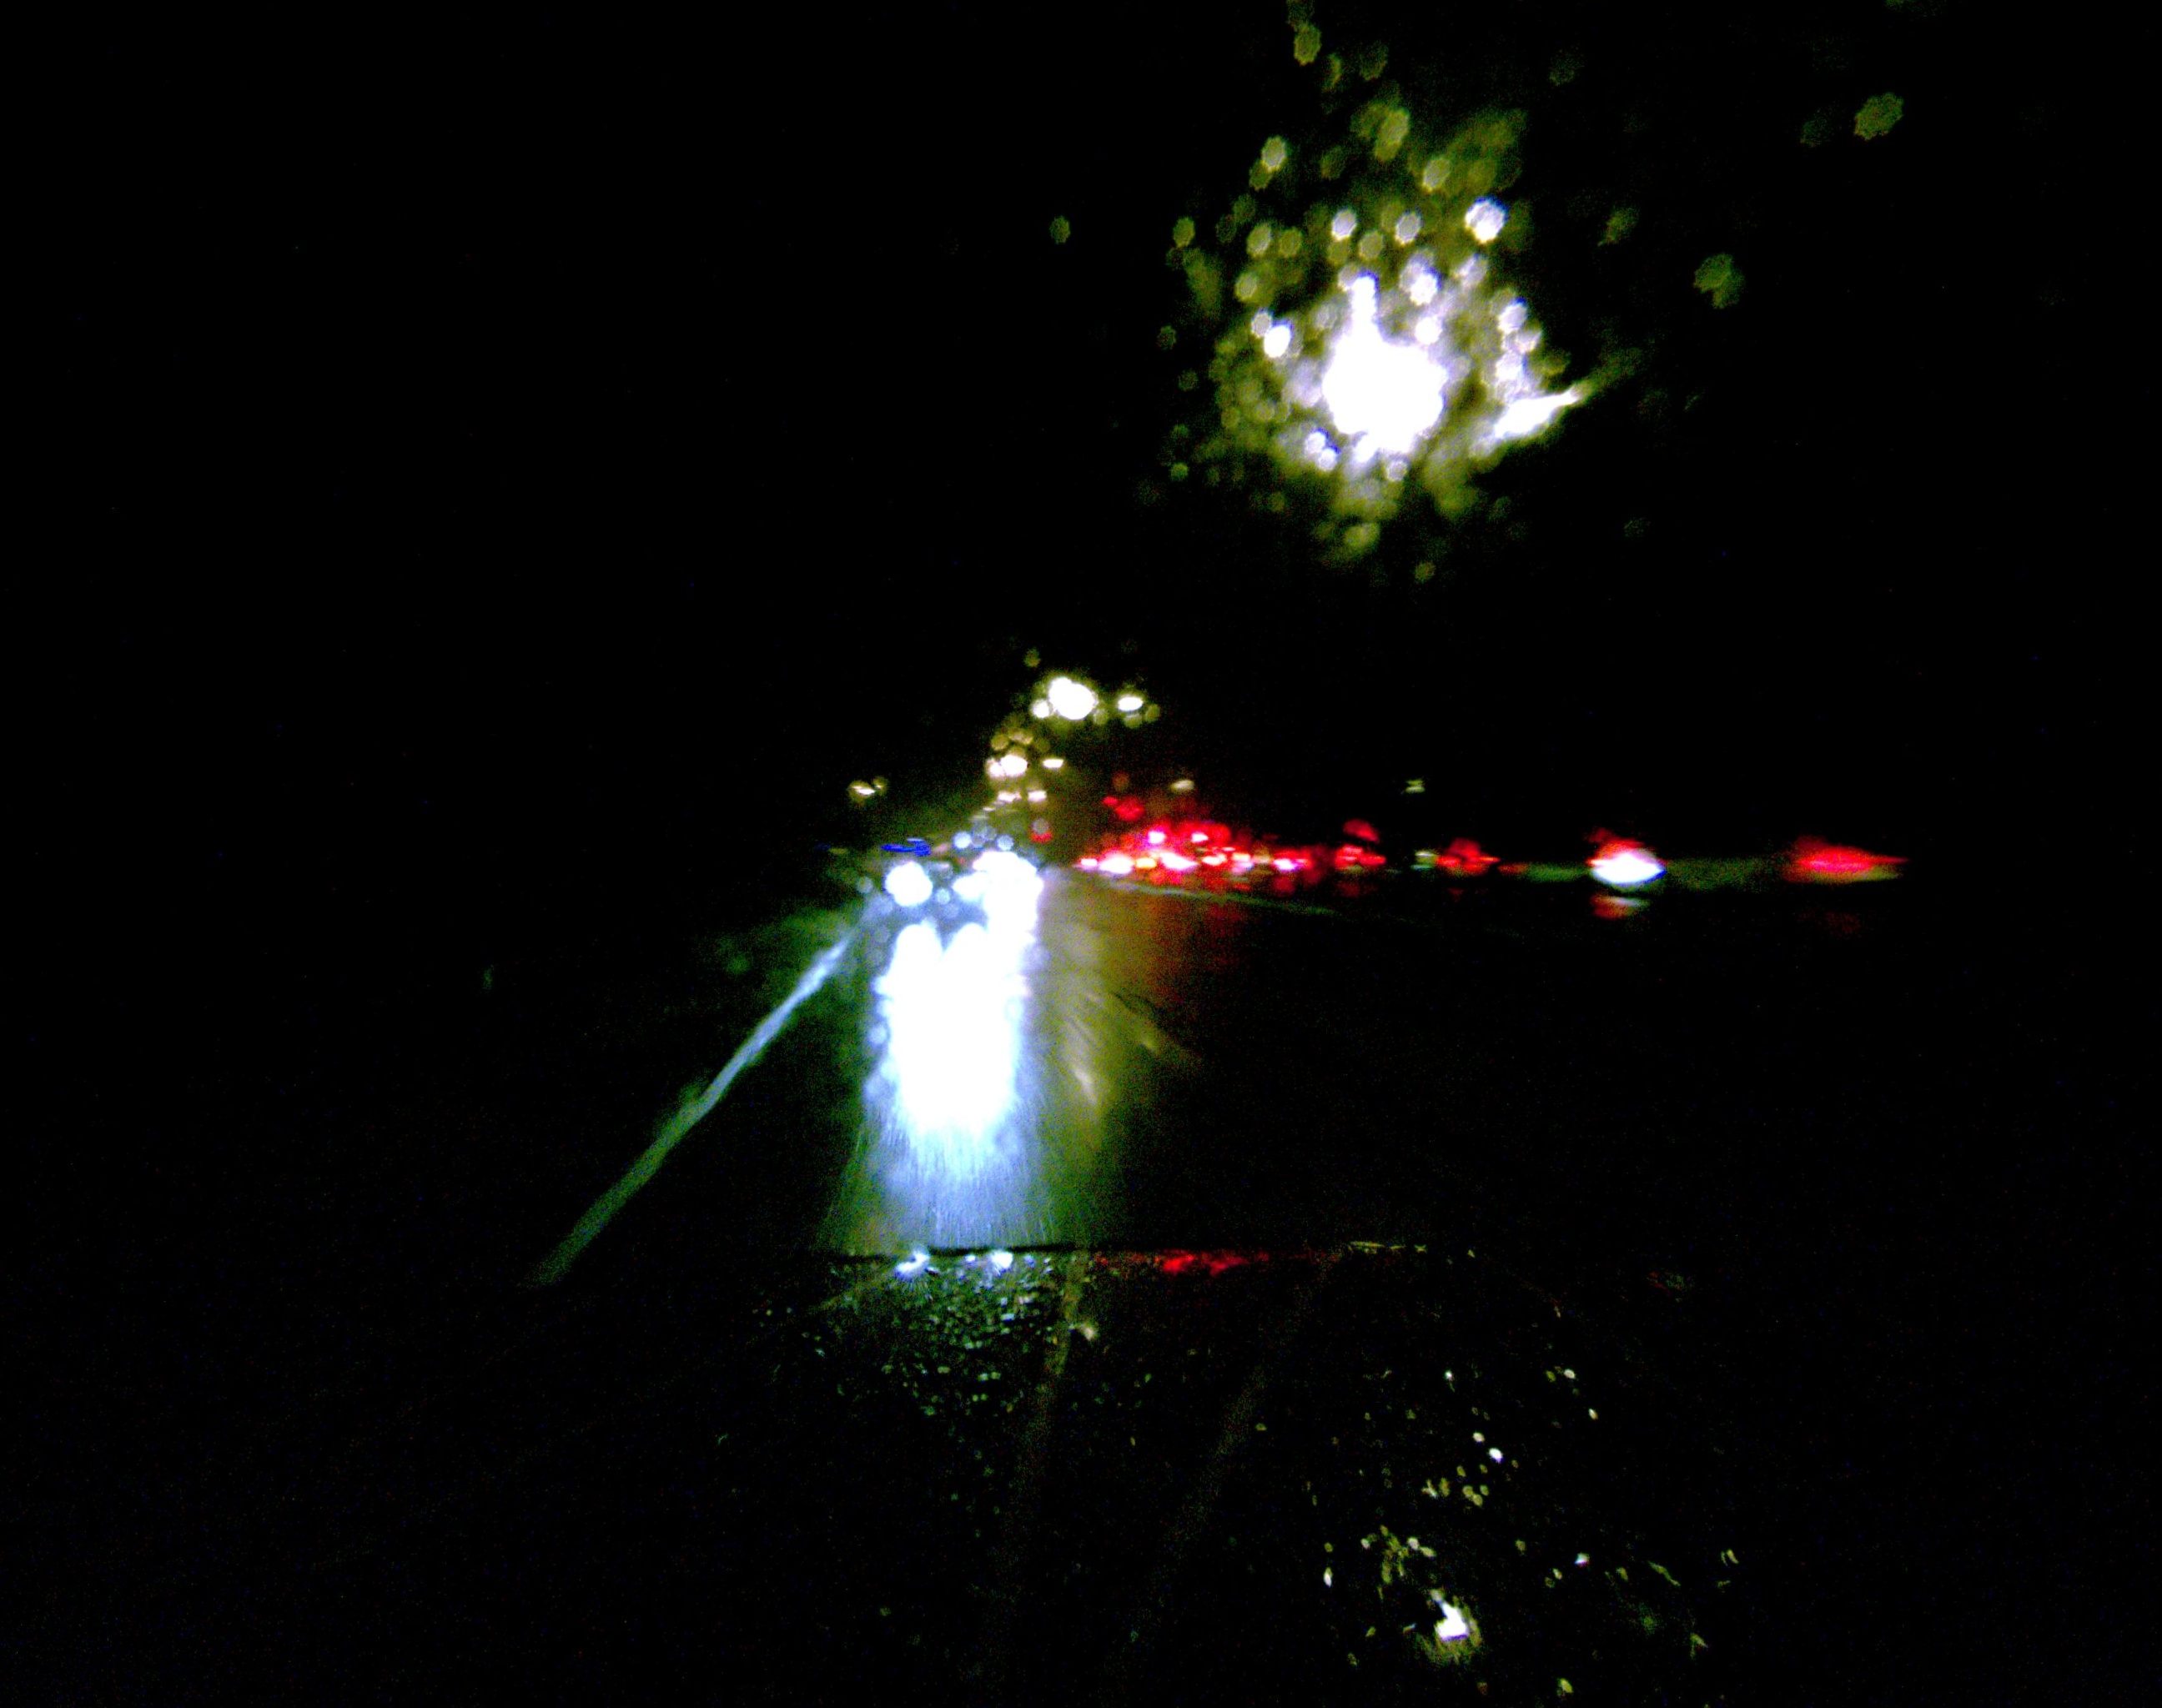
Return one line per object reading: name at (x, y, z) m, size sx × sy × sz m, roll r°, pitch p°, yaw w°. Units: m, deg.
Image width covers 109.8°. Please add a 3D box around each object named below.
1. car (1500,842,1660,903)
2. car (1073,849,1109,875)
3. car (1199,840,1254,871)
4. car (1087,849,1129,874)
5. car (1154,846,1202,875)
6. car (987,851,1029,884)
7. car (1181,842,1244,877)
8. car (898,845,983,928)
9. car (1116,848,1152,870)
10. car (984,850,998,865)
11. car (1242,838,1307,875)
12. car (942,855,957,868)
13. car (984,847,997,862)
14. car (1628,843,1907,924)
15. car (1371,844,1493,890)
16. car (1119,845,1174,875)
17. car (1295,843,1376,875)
car at (14.796, 0.504, 22.823) m, size 1.498 × 1.593 × 4.141 m, roll -3°, pitch 1°, yaw -11°
car at (0.713, 0.563, 56.063) m, size 1.766 × 1.715 × 3.897 m, roll -3°, pitch 1°, yaw -12°
car at (9.134, 0.139, 48.042) m, size 1.805 × 1.788 × 4.247 m, roll -2°, pitch -1°, yaw -12°
car at (1.721, 0.483, 49.917) m, size 1.783 × 1.475 × 4.407 m, roll -3°, pitch 1°, yaw -11°
car at (6.117, 0.372, 48.302) m, size 1.805 × 1.657 × 3.971 m, roll -2°, pitch 2°, yaw -12°
car at (-4.091, 0.739, 42.294) m, size 1.832 × 1.640 × 4.132 m, roll -3°, pitch 0°, yaw -11°
car at (7.125, 0.256, 41.569) m, size 1.805 × 1.657 × 4.481 m, roll -2°, pitch 2°, yaw -12°
car at (-3.984, 0.824, 22.083) m, size 2.004 × 1.915 × 4.365 m, roll -6°, pitch 2°, yaw -8°
car at (3.914, 0.355, 56.712) m, size 1.718 × 1.479 × 4.052 m, roll -2°, pitch 2°, yaw -11°
car at (-12.512, 0.478, 105.452) m, size 1.667 × 1.843 × 4.141 m, roll -3°, pitch 2°, yaw -9°
car at (10.562, 0.090, 41.758) m, size 1.766 × 1.838 × 4.119 m, roll -2°, pitch 2°, yaw -12°
car at (-17.870, 0.996, 103.328) m, size 1.959 × 1.624 × 4.254 m, roll -3°, pitch 2°, yaw -9°
car at (-13.406, 0.096, 112.379) m, size 1.794 × 2.013 × 4.141 m, roll -3°, pitch 2°, yaw -9°
car at (15.247, 0.577, 17.277) m, size 1.890 × 1.522 × 4.426 m, roll -3°, pitch 1°, yaw -12°
car at (13.282, 0.435, 29.098) m, size 1.858 × 1.530 × 4.526 m, roll 0°, pitch 2°, yaw -12°
car at (3.646, 0.340, 42.925) m, size 1.819 × 1.568 × 4.300 m, roll -1°, pitch 1°, yaw -13°
car at (11.896, 0.217, 35.769) m, size 1.766 × 1.369 × 4.035 m, roll -2°, pitch 1°, yaw -12°
